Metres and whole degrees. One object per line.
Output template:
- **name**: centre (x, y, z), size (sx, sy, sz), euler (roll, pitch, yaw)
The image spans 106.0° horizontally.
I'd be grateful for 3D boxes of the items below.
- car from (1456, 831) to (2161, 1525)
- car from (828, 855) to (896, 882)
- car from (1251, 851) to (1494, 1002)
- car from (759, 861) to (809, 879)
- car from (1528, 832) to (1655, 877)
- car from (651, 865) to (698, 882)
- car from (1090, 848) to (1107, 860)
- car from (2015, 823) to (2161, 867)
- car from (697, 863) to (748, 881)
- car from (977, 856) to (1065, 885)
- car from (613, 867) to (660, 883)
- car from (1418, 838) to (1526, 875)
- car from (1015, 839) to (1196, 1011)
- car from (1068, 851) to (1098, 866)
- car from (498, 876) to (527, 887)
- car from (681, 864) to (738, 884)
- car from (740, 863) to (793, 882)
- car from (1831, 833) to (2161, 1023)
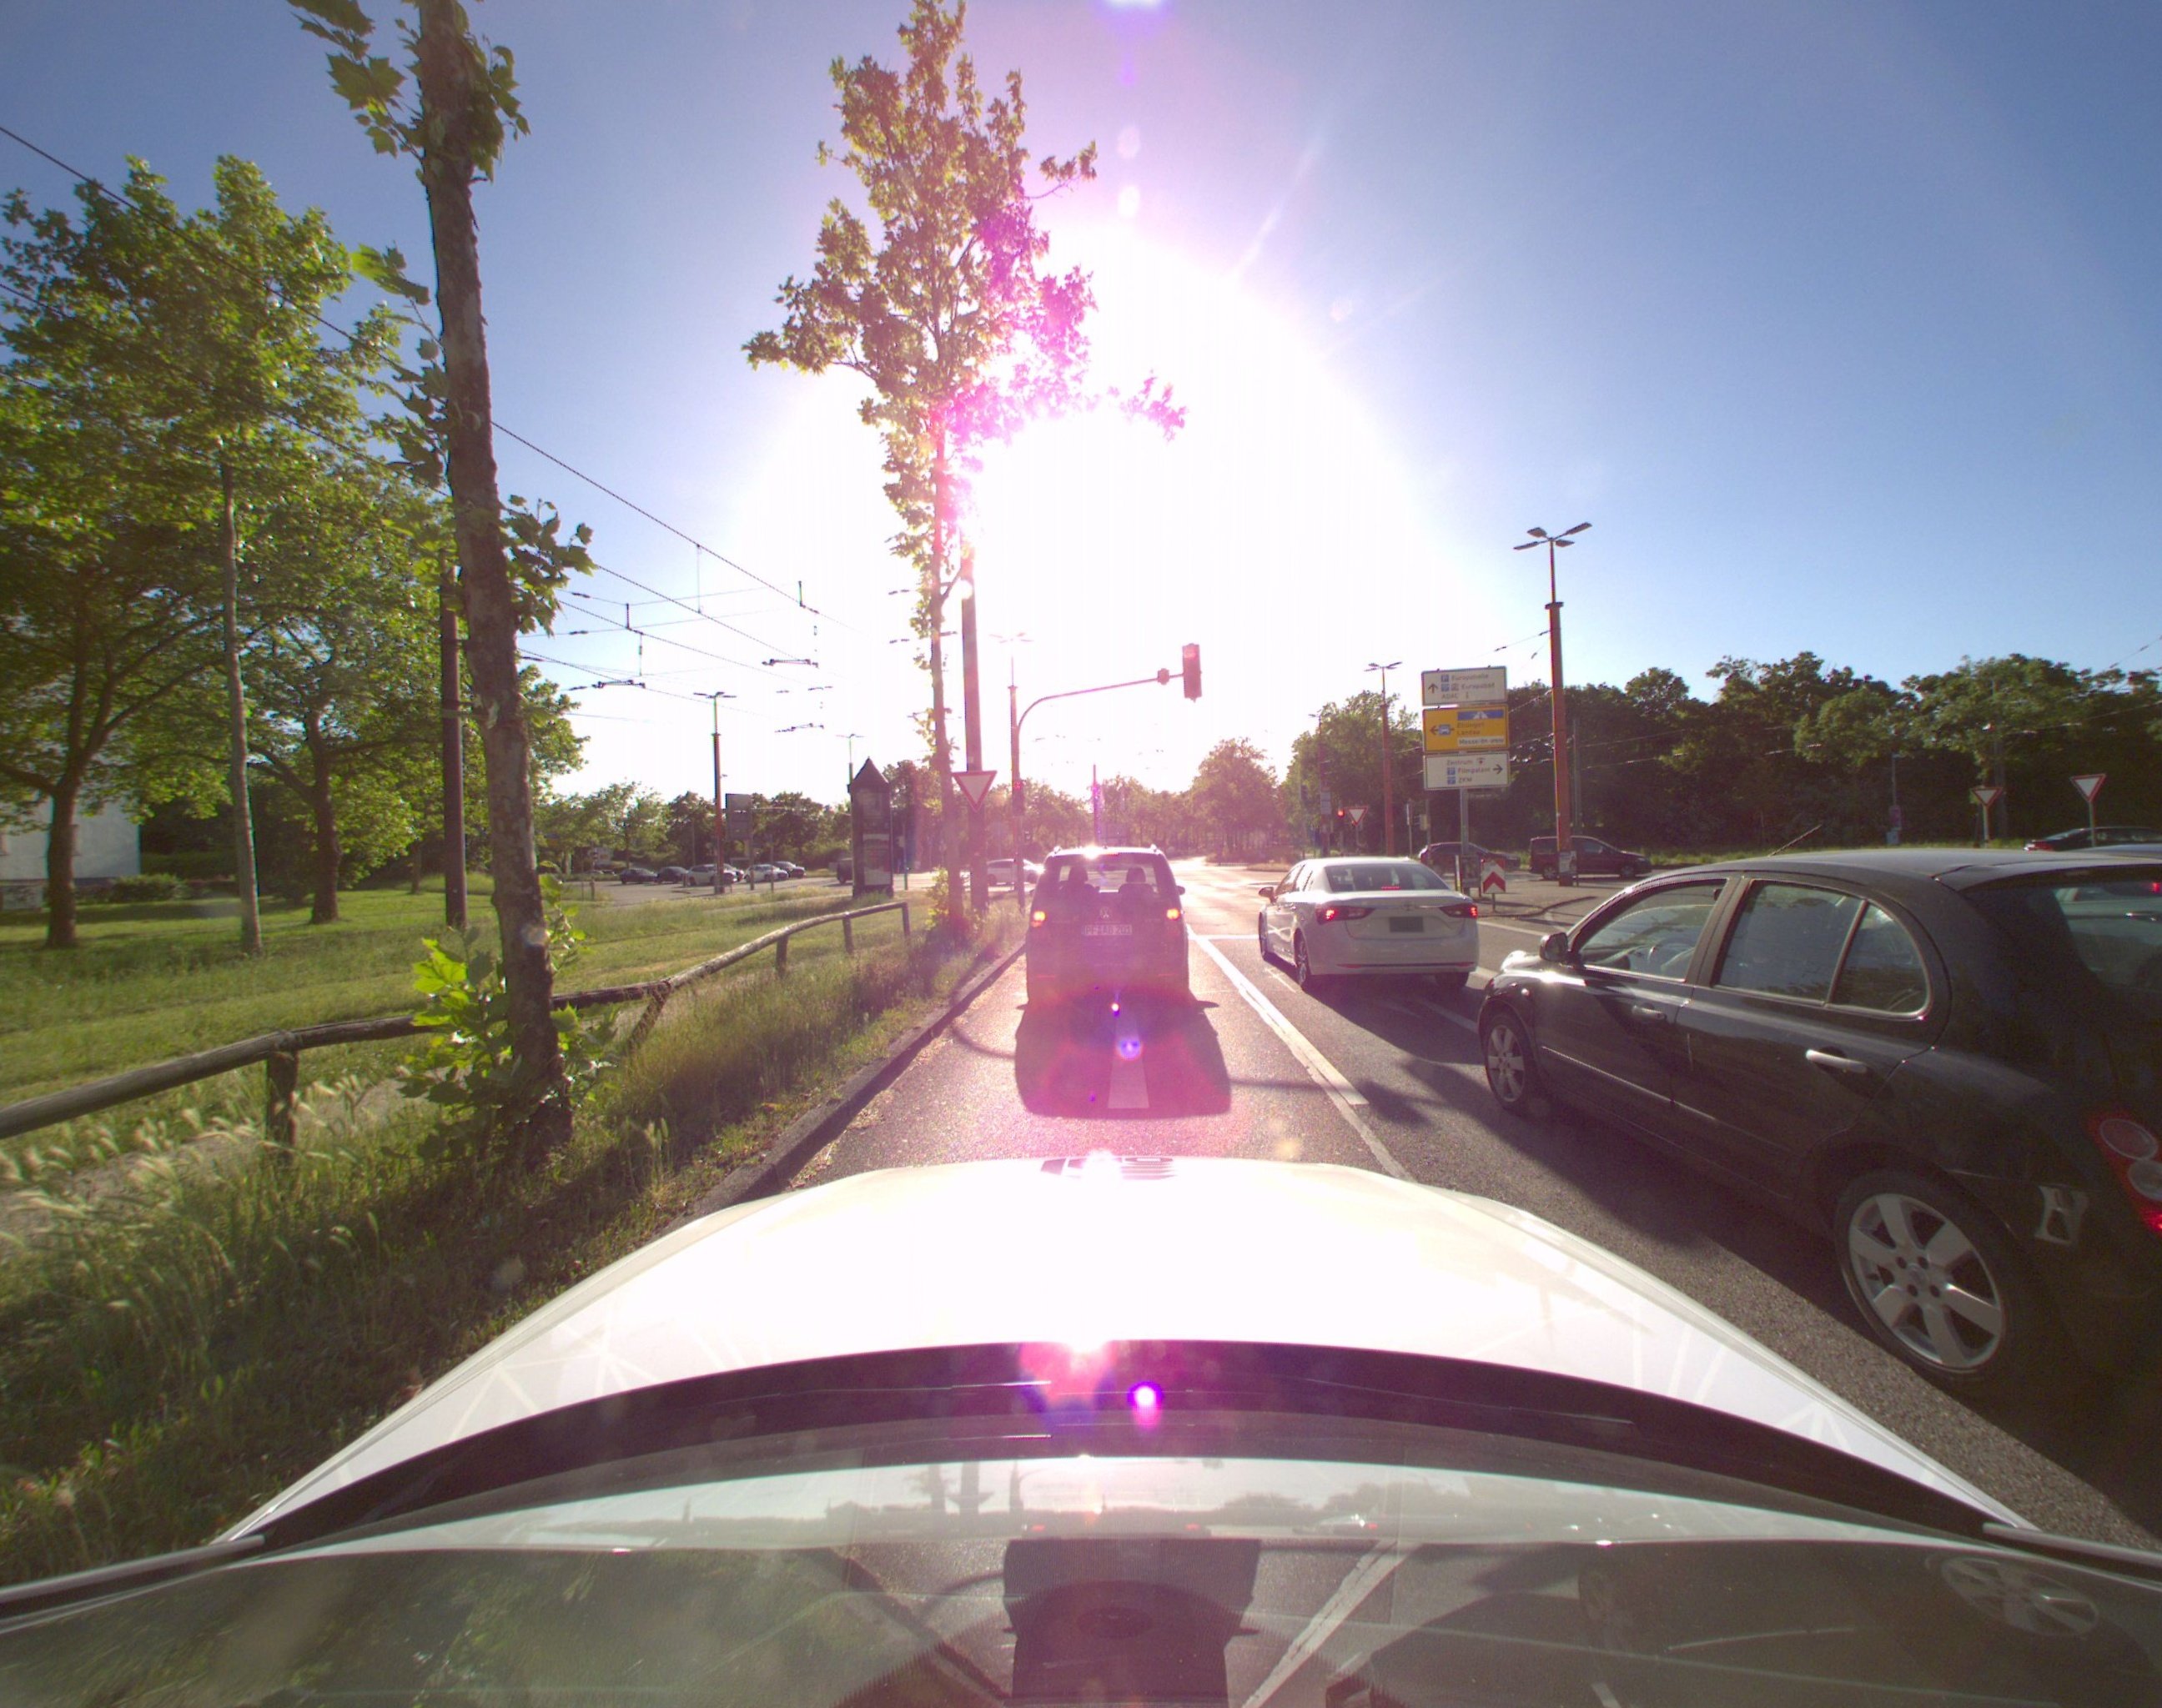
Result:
- **car**: centre (3.172, 0.692, 3.506), size (1.550, 1.506, 3.517), euler (-2, 0, 2)
- **car**: centre (-15.929, 1.048, 59.275), size (4.735, 1.836, 1.926), euler (-2, 0, 29)
- **car**: centre (3.301, 0.718, 10.110), size (1.708, 1.454, 4.147), euler (-2, 0, 3)
- **car**: centre (-26.529, 1.451, 72.649), size (4.169, 1.464, 1.926), euler (-2, 0, 29)
- **car**: centre (21.097, 0.036, 33.848), size (4.302, 1.732, 1.854), euler (-2, 0, 30)
- **car**: centre (-37.351, 1.778, 74.833), size (4.004, 1.464, 1.926), euler (-2, 0, 28)
- **car**: centre (2.767, -0.013, 128.334), size (1.981, 1.684, 4.841), euler (-2, 0, 9)
- **car**: centre (33.906, -0.308, 26.490), size (4.263, 1.327, 1.772), euler (-2, 0, 31)
- **car**: centre (-31.716, 1.572, 72.064), size (4.318, 1.464, 1.926), euler (-2, 0, 29)
- **car**: centre (-3.553, 0.956, 47.740), size (4.866, 1.575, 2.013), euler (-2, 0, 31)
- **car**: centre (-42.354, 1.990, 77.639), size (4.187, 1.464, 1.926), euler (-2, 0, 28)
- **car**: centre (18.748, 0.133, 39.129), size (4.507, 1.668, 1.854), euler (-2, 0, 30)
- **car**: centre (0.300, 0.695, 9.982), size (1.731, 1.641, 4.002), euler (-2, 0, 2)
- **car**: centre (0.282, 0.480, 98.534), size (1.977, 1.684, 4.853), euler (-2, 0, 20)
- **car**: centre (-88.518, 4.264, 126.769), size (4.410, 1.596, 2.013), euler (-2, 0, 30)
- **car**: centre (-31.019, 1.682, 67.971), size (4.735, 1.598, 1.926), euler (-2, 0, 29)
- **car**: centre (-26.768, 1.594, 69.244), size (4.169, 1.464, 1.926), euler (-2, 0, 29)
- **car**: centre (9.383, 0.556, 7.405), size (1.737, 1.469, 3.898), euler (-2, 0, 5)
